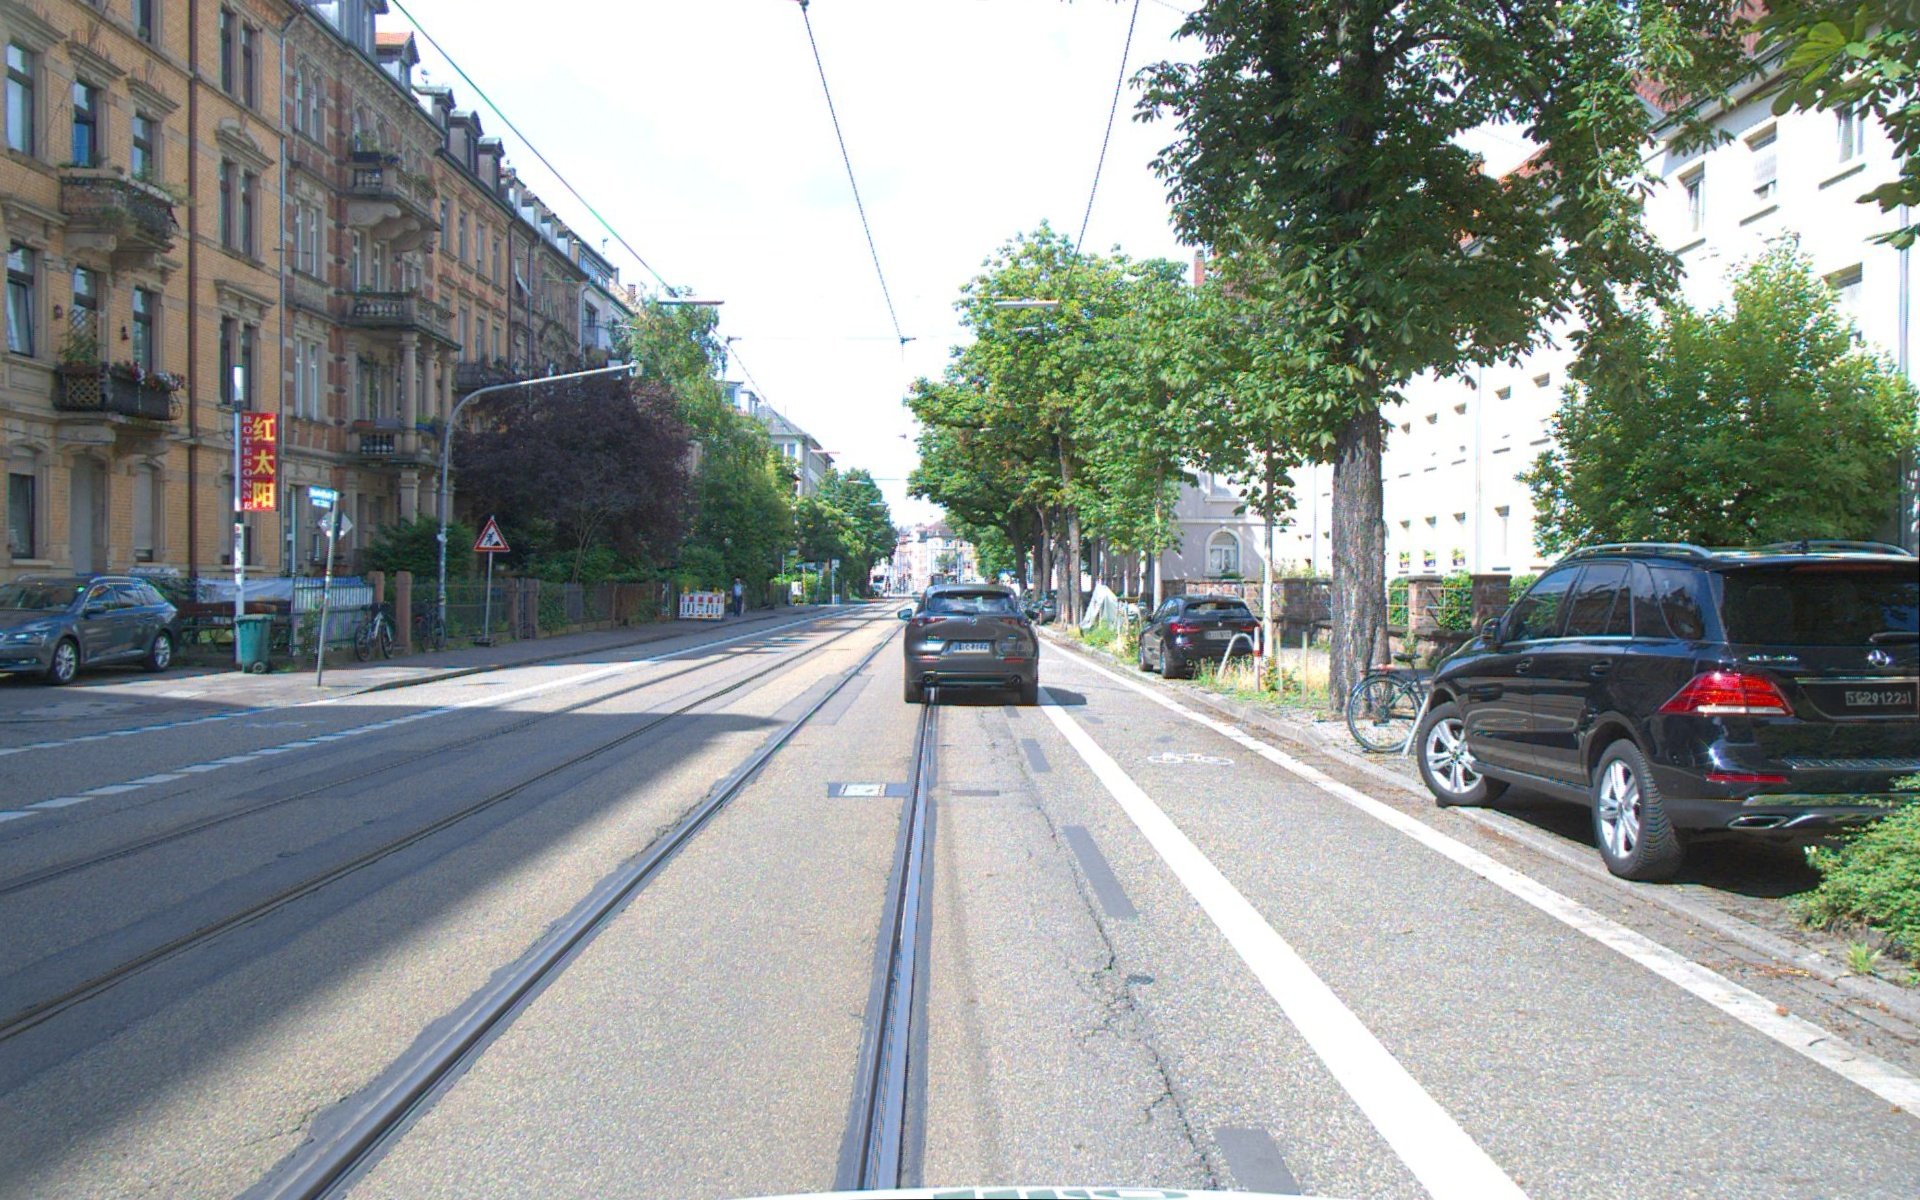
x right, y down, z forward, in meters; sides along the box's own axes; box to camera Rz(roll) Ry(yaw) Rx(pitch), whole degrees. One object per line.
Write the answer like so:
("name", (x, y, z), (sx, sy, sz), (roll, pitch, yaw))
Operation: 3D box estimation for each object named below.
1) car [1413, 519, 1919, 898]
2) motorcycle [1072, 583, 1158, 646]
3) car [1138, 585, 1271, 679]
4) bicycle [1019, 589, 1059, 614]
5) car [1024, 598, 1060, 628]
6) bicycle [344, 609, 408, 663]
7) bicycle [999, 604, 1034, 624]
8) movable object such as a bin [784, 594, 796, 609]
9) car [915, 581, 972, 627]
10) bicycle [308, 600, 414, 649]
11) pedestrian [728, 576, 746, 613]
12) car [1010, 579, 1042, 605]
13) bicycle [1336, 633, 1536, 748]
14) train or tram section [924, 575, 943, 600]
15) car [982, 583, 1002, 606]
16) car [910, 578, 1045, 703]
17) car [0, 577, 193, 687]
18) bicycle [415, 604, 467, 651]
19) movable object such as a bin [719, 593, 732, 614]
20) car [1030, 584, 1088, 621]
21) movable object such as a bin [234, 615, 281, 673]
("car", (4.404, 0.487, 10.322), (1.790, 1.813, 4.732), (0, 1, -1))
("motorcycle", (4.255, 0.373, 45.543), (2.341, 1.625, 0.676), (2, 1, 38))
("car", (4.322, 0.531, 29.785), (1.671, 1.505, 4.196), (2, 0, -1))
("bicycle", (3.873, 0.095, 81.139), (1.895, 1.196, 0.513), (-1, -1, 11))
("car", (4.242, 0.652, 85.708), (1.632, 1.455, 3.765), (-2, 0, 0))
("bicycle", (-10.971, 0.663, 31.129), (0.519, 0.963, 1.967), (0, 0, -1))
("bicycle", (3.071, 0.780, 90.238), (1.864, 1.091, 0.402), (0, 0, -1))
("movable object such as a bin", (-11.889, 0.088, 115.694), (0.730, 1.005, 1.114), (2, 0, -1))
("car", (-0.617, 0.128, 60.355), (1.953, 1.555, 3.999), (2, 0, -1))
("bicycle", (-12.055, 0.493, 33.308), (1.923, 0.963, 0.531), (0, 0, -6))
("pedestrian", (-10.679, -0.253, 79.126), (0.806, 1.736, 0.891), (0, 0, -4))
("car", (5.044, -0.658, 127.508), (1.753, 1.972, 4.984), (0, 1, -7))
("bicycle", (4.404, 0.828, 15.358), (1.673, 1.024, 0.638), (0, 0, -1))
("train or tram section", (-4.145, -1.979, 257.646), (2.520, 3.838, 13.018), (0, 0, -3))
("car", (2.795, -0.459, 144.077), (1.685, 2.003, 4.207), (0, 0, 0))
("car", (0.190, 0.496, 22.466), (1.686, 1.553, 3.589), (0, 0, -1))
("car", (-13.326, 0.416, 24.623), (1.651, 1.485, 4.764), (0, 0, -1))
("bicycle", (-11.030, 0.573, 35.214), (0.519, 0.963, 1.967), (0, 0, -1))
("movable object such as a bin", (-12.620, 0.174, 88.888), (0.526, 1.113, 0.790), (0, 0, 4))
("car", (4.048, 0.093, 68.081), (1.810, 1.434, 4.391), (-2, 0, -4))
("movable object such as a bin", (-11.450, 0.709, 26.966), (0.514, 0.921, 0.636), (0, 0, -2))
